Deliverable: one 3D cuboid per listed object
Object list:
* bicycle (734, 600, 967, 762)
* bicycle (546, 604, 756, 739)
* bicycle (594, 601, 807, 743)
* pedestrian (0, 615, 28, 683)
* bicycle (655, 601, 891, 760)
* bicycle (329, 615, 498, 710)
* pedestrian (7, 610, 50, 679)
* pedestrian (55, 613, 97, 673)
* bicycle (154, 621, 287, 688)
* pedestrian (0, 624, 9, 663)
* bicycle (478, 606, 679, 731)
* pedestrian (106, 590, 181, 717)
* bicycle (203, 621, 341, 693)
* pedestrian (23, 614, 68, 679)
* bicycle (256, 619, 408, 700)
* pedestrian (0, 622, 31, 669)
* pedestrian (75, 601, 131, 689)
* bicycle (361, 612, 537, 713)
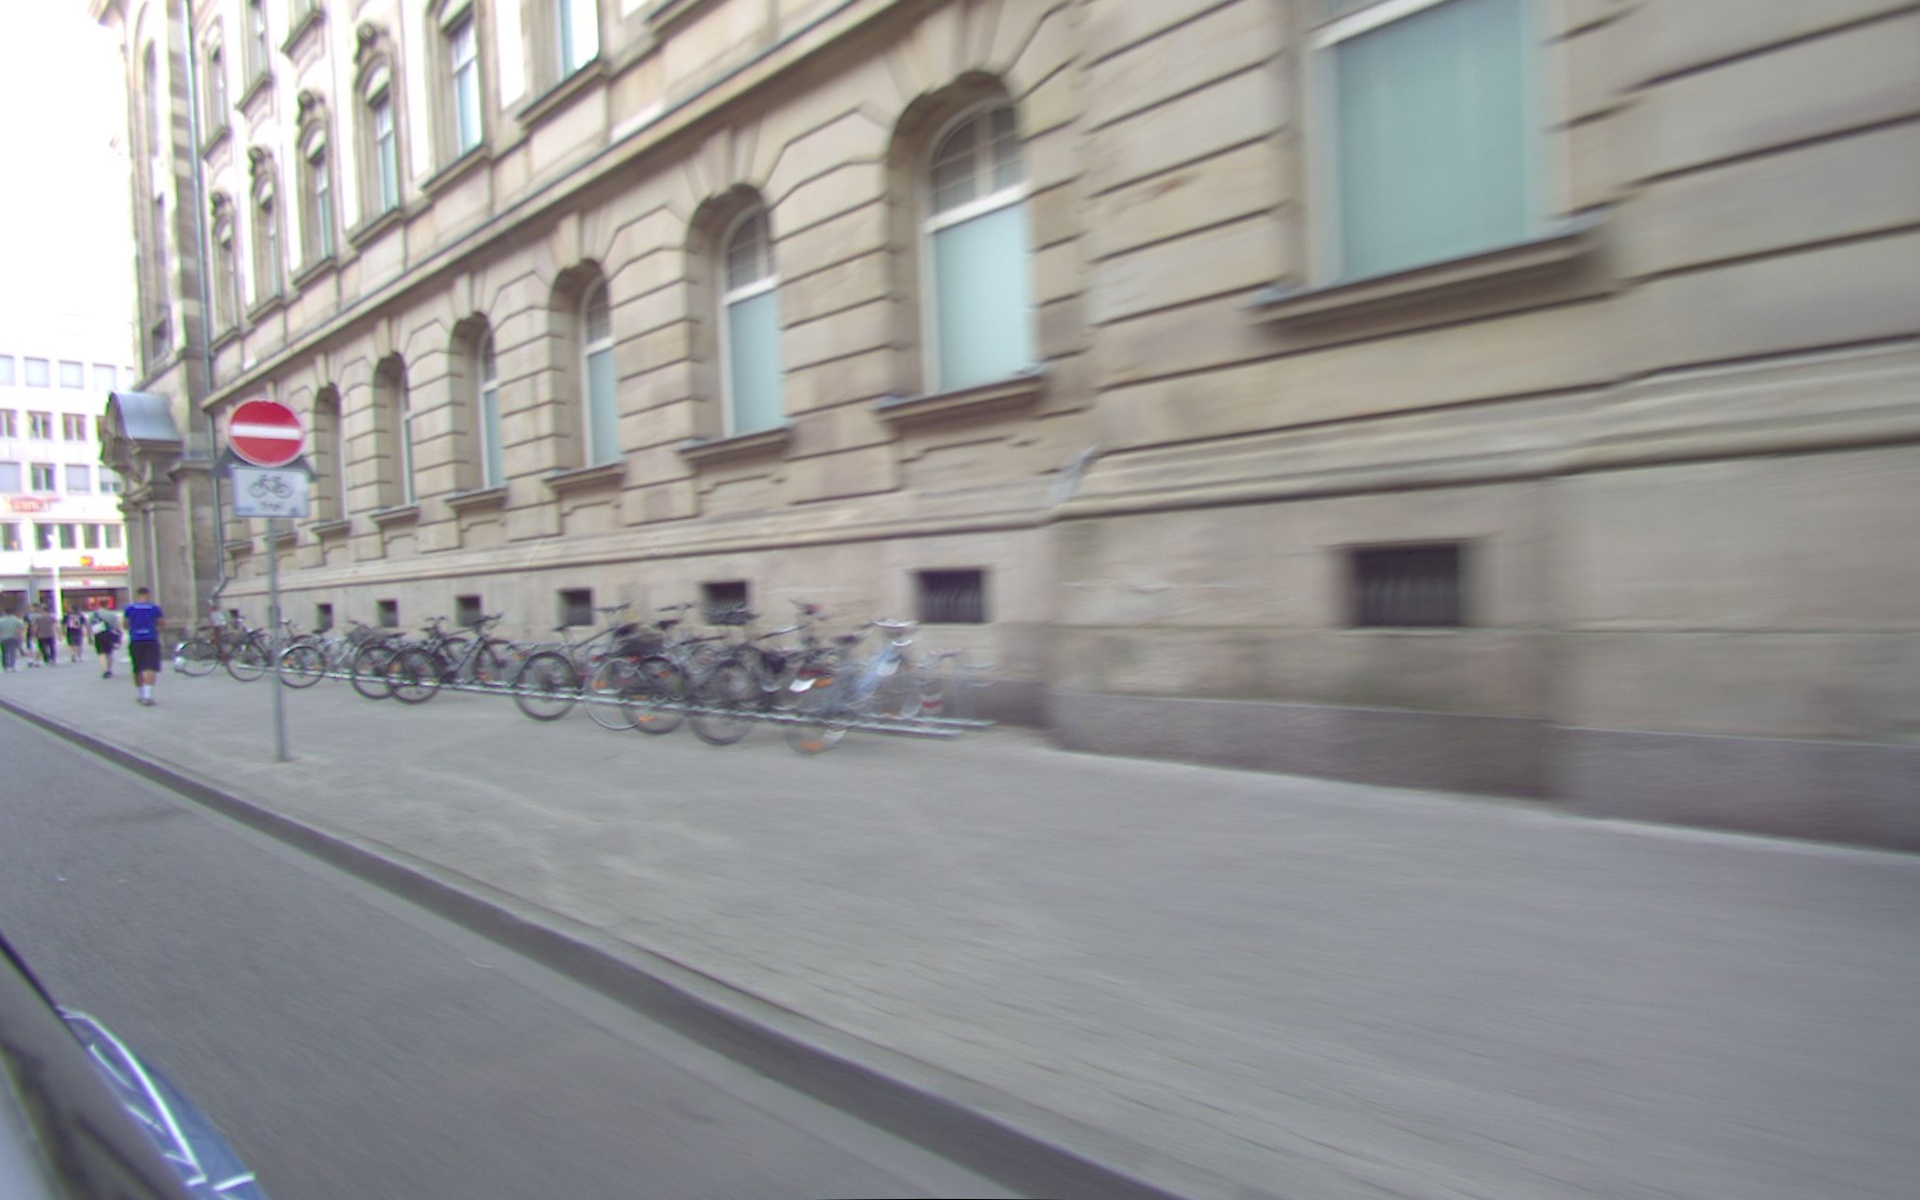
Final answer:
[{"bbox_3d":[-0.824,0.588,8.201,0.720,1.053,1.918,-2,2,37],"label":"bicycle"},{"bbox_3d":[-3.039,0.658,10.158,0.728,1.086,1.921,-2,3,34],"label":"bicycle"},{"bbox_3d":[-2.419,0.632,9.696,0.728,1.086,1.921,-2,3,34],"label":"bicycle"},{"bbox_3d":[-25.591,1.315,27.110,0.840,1.754,0.718,-2,4,44],"label":"pedestrian"},{"bbox_3d":[-1.558,0.625,8.758,0.747,1.086,1.918,-1,3,40],"label":"bicycle"},{"bbox_3d":[-7.625,0.834,14.216,0.728,1.086,1.921,-2,3,34],"label":"bicycle"},{"bbox_3d":[-26.640,1.260,28.951,0.708,1.843,0.871,-7,4,-41],"label":"pedestrian"},{"bbox_3d":[-25.763,1.239,29.499,0.747,1.653,0.749,-7,4,-41],"label":"pedestrian"},{"bbox_3d":[-15.037,1.086,20.641,0.728,1.117,2.002,-2,3,35],"label":"bicycle"},{"bbox_3d":[-42.822,1.932,44.969,0.746,1.701,0.722,-3,0,43],"label":"pedestrian"},{"bbox_3d":[-4.075,0.693,10.969,0.728,1.086,1.921,-2,3,34],"label":"bicycle"},{"bbox_3d":[-12.276,0.786,15.220,0.766,1.802,0.822,-4,1,-40],"label":"pedestrian"},{"bbox_3d":[-12.768,1.037,18.873,0.725,1.086,2.011,-2,3,22],"label":"bicycle"},{"bbox_3d":[-25.216,1.273,27.907,0.858,1.680,0.721,-2,4,44],"label":"pedestrian"},{"bbox_3d":[-10.225,0.936,16.556,0.729,1.086,1.920,-2,3,36],"label":"bicycle"},{"bbox_3d":[-35.004,1.669,37.356,0.731,1.672,0.755,-2,0,-12],"label":"pedestrian"},{"bbox_3d":[-18.331,0.945,21.644,0.800,1.793,0.710,-2,2,42],"label":"pedestrian"},{"bbox_3d":[-6.729,0.786,13.437,0.728,1.086,1.921,-2,3,34],"label":"bicycle"}]
